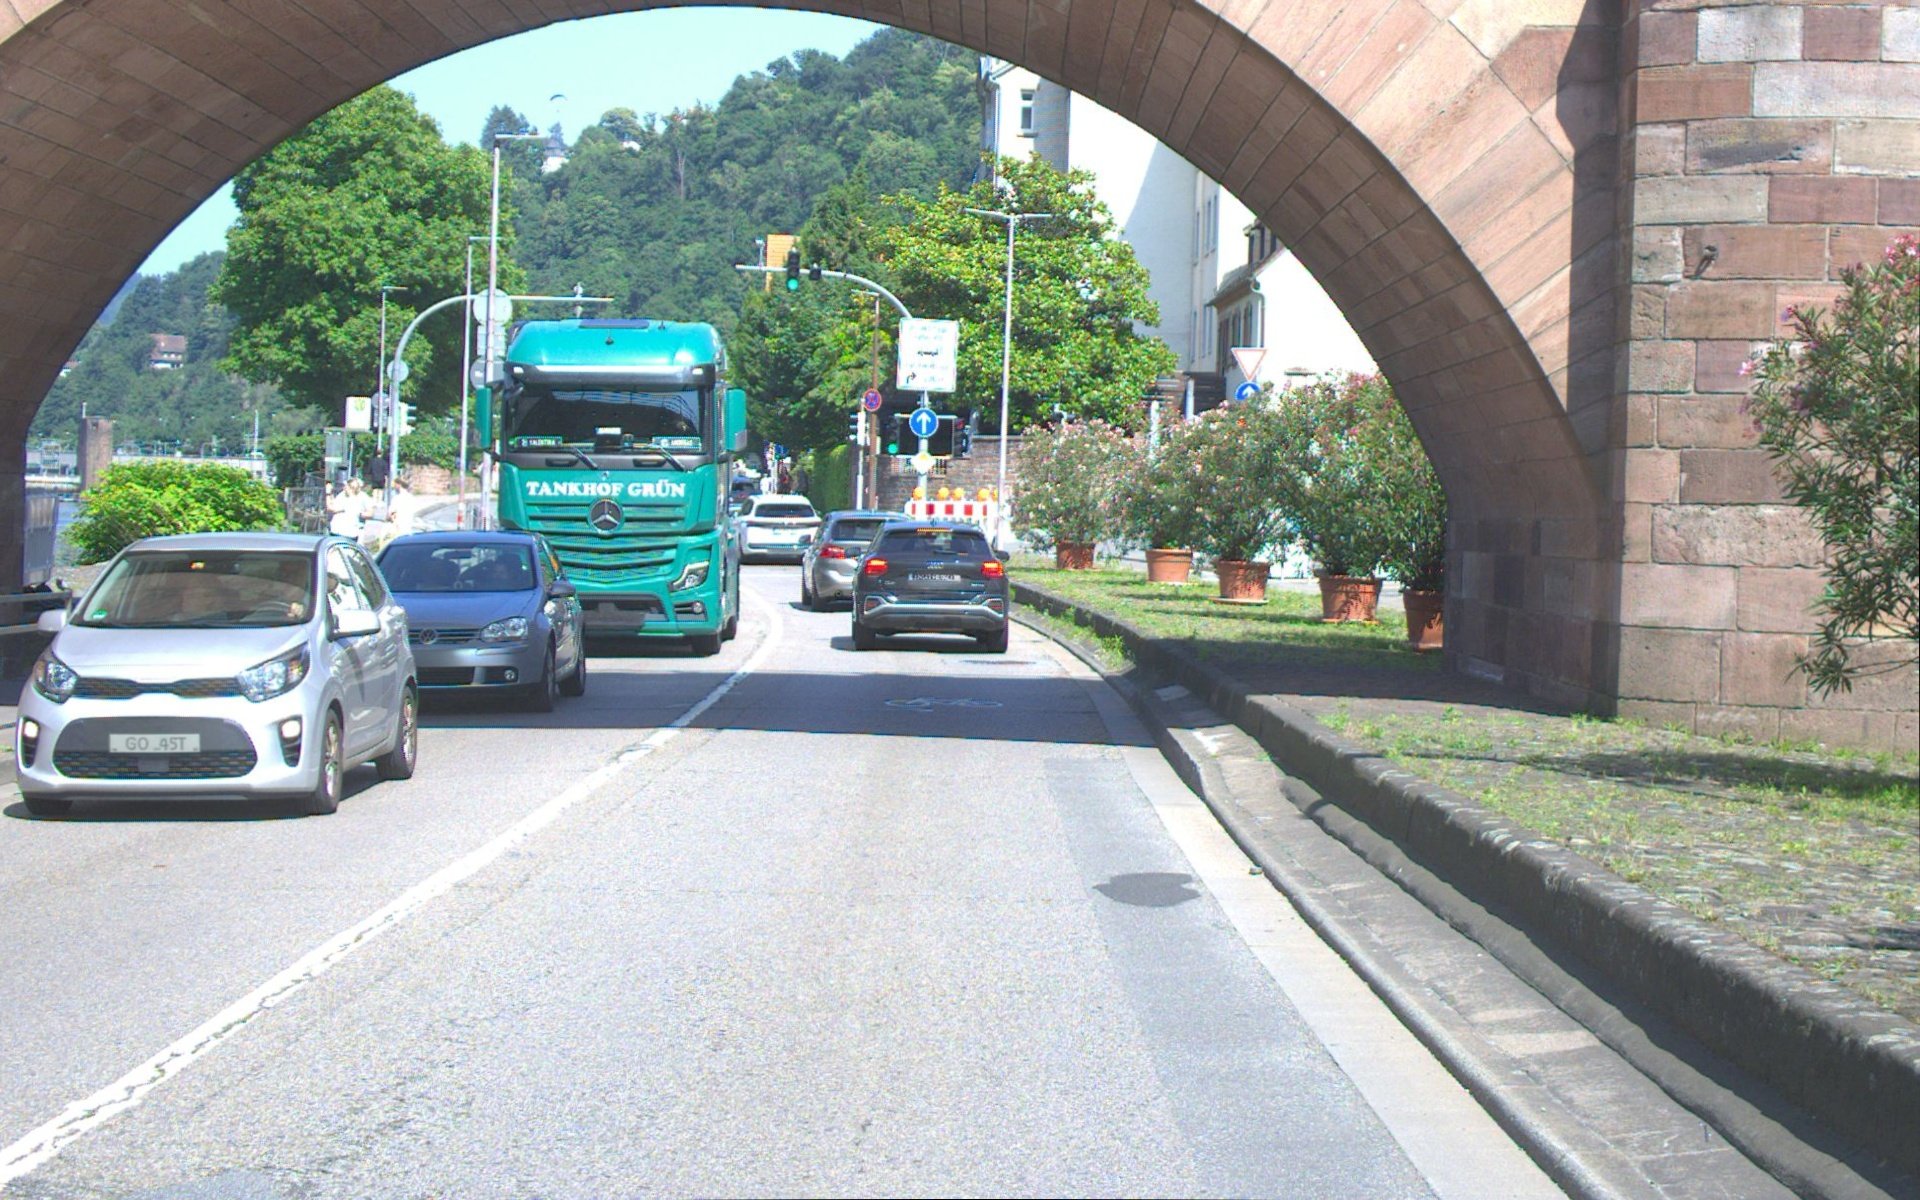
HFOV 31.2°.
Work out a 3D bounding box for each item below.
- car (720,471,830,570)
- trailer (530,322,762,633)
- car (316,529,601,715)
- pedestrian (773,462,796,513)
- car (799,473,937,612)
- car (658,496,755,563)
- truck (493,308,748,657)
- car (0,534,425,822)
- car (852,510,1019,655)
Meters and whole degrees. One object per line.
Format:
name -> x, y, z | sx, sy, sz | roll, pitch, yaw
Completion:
car -> -4.022, -1.692, 74.218 | 1.993, 2.007, 4.001 | 2, 1, -8
trailer -> -4.026, -1.610, 46.231 | 2.523, 3.631, 11.533 | 1, 2, -3
car -> -4.104, 0.136, 28.763 | 1.723, 1.432, 4.400 | 0, 1, 0
pedestrian -> -6.133, -3.933, 119.874 | 0.680, 1.736, 0.913 | 2, 1, -6
car -> -1.412, -0.867, 52.827 | 1.993, 2.007, 4.000 | 1, 0, -1
car -> -6.777, -1.860, 91.503 | 1.993, 1.656, 4.001 | 2, 0, -12
truck -> -3.843, -1.367, 40.048 | 2.523, 3.735, 6.247 | 0, 2, -2
car -> -4.026, 0.366, 19.034 | 1.534, 1.432, 3.728 | 0, 1, 0
car -> -0.287, -0.252, 40.882 | 1.857, 1.518, 4.001 | 1, 3, 0
